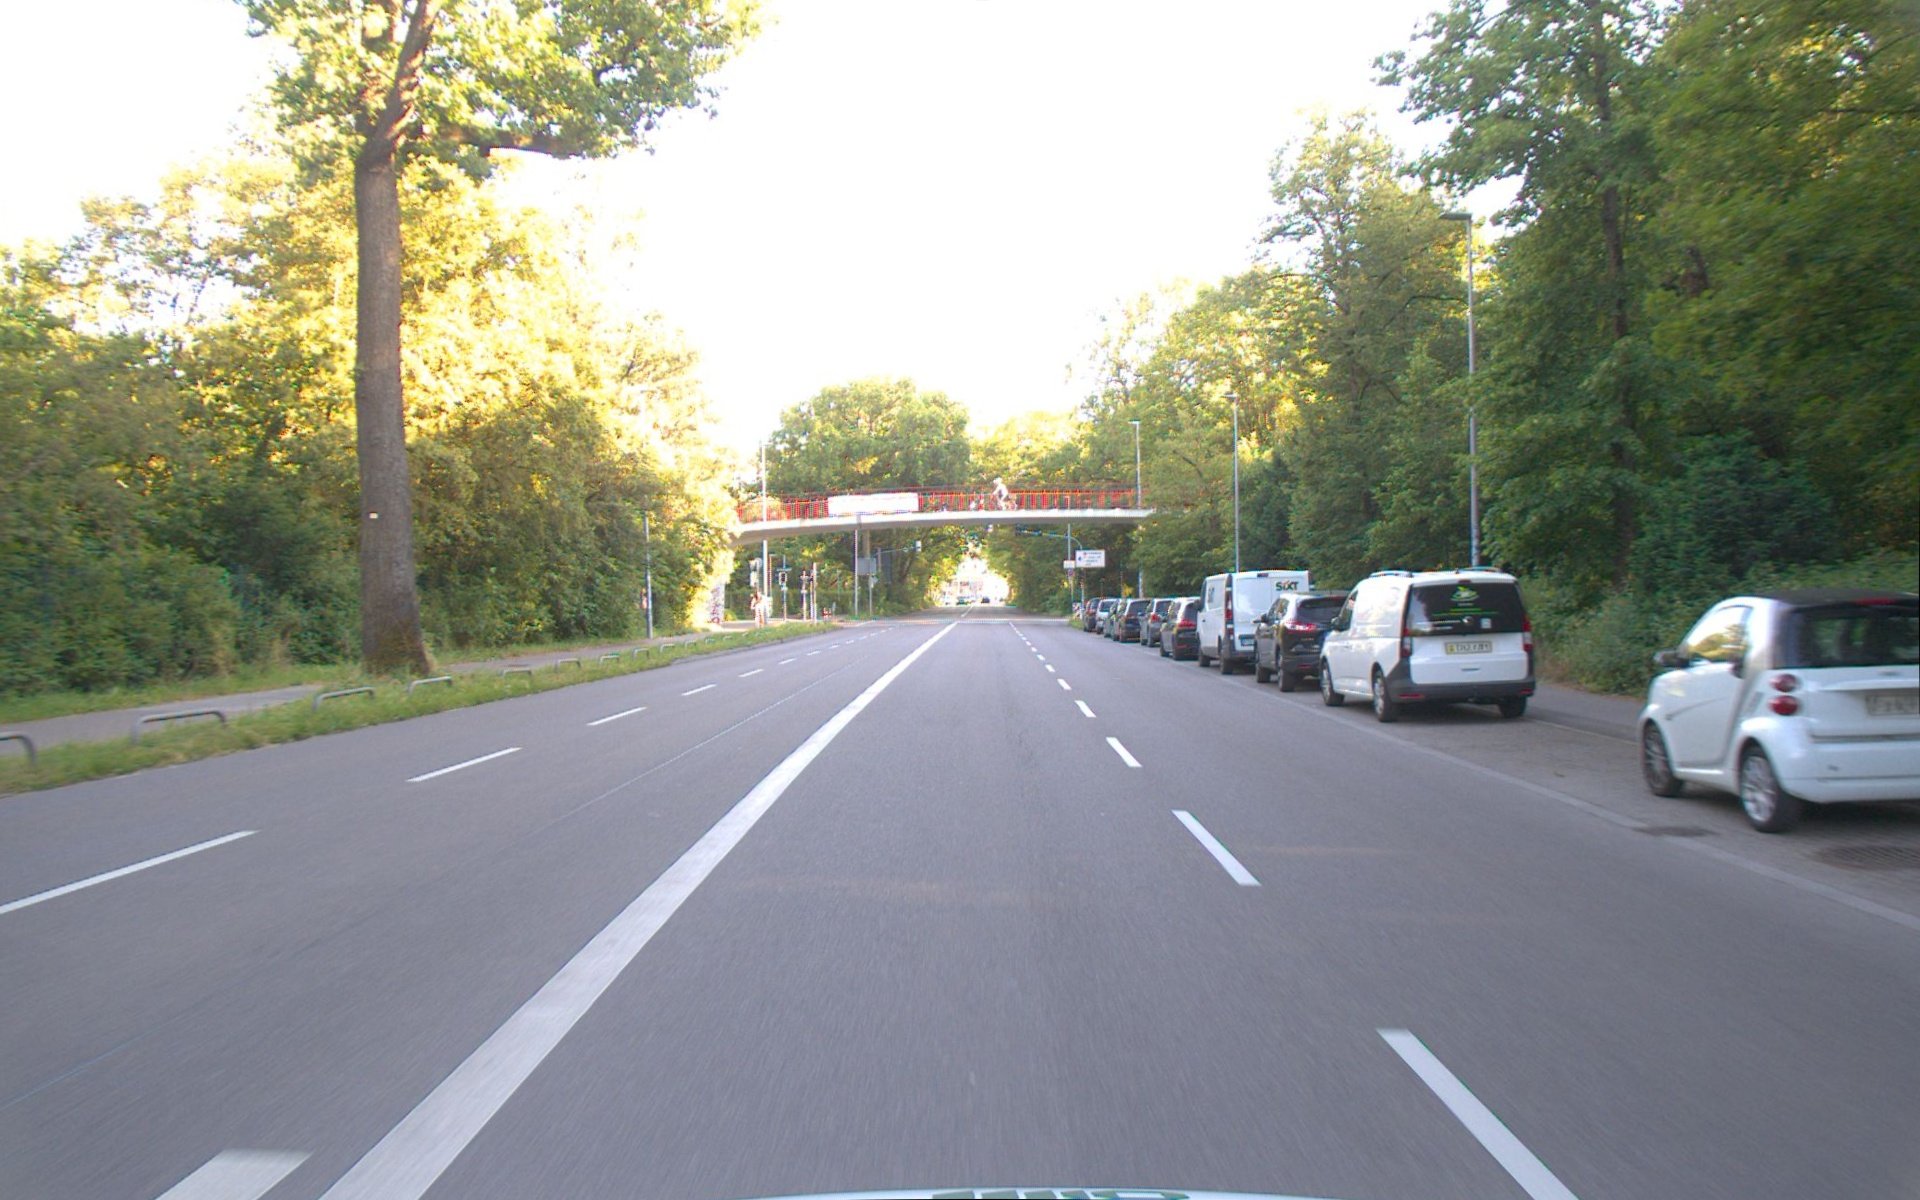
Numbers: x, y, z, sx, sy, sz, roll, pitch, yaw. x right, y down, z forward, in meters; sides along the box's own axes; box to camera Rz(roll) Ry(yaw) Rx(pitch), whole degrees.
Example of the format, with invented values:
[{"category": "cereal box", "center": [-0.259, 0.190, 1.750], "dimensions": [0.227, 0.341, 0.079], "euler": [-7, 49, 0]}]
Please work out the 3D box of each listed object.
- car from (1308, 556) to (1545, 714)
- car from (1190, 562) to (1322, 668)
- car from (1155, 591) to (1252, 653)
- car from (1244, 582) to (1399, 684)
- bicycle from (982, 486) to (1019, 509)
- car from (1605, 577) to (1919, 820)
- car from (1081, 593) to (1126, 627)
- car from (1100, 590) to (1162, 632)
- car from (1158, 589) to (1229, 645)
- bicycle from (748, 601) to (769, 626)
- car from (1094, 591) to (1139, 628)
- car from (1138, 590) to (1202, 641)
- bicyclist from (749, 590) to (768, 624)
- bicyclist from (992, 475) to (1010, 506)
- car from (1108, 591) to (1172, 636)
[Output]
[{"category": "car", "center": [6.017, 0.421, 21.931], "dimensions": [1.723, 1.836, 4.736], "euler": [-1, 0, -1]}, {"category": "car", "center": [6.079, 0.296, 34.585], "dimensions": [1.830, 2.016, 5.475], "euler": [-1, 0, 1]}, {"category": "car", "center": [6.003, 0.520, 41.177], "dimensions": [1.830, 1.431, 4.369], "euler": [-1, 0, 1]}, {"category": "car", "center": [6.074, 0.525, 28.257], "dimensions": [1.722, 1.574, 4.429], "euler": [-1, 0, 1]}, {"category": "bicycle", "center": [2.190, -5.515, 89.195], "dimensions": [1.946, 1.167, 0.714], "euler": [1, -1, -1]}, {"category": "car", "center": [6.076, 0.623, 12.083], "dimensions": [1.553, 1.521, 3.181], "euler": [-1, 0, 2]}, {"category": "car", "center": [6.462, 0.440, 74.701], "dimensions": [1.737, 1.479, 4.388], "euler": [-1, 0, 1]}, {"category": "car", "center": [6.444, 0.399, 62.799], "dimensions": [1.738, 1.479, 5.037], "euler": [-1, 0, -1]}, {"category": "car", "center": [6.505, 0.471, 46.343], "dimensions": [1.553, 1.479, 3.799], "euler": [-1, 0, 2]}, {"category": "bicycle", "center": [-9.452, 0.634, 77.682], "dimensions": [0.697, 1.167, 1.993], "euler": [1, -1, 0]}, {"category": "car", "center": [6.626, 0.396, 70.288], "dimensions": [1.737, 1.479, 4.016], "euler": [-1, 0, 4]}, {"category": "car", "center": [6.438, 0.462, 50.998], "dimensions": [1.553, 1.479, 3.944], "euler": [-1, 0, 1]}, {"category": "bicyclist", "center": [-9.461, 0.324, 77.687], "dimensions": [0.697, 1.586, 1.143], "euler": [1, -1, 0]}, {"category": "bicyclist", "center": [2.209, -5.912, 89.203], "dimensions": [0.950, 1.614, 0.714], "euler": [1, -1, -1]}, {"category": "car", "center": [6.201, 0.462, 57.365], "dimensions": [1.603, 1.479, 4.897], "euler": [-1, 0, -1]}]
